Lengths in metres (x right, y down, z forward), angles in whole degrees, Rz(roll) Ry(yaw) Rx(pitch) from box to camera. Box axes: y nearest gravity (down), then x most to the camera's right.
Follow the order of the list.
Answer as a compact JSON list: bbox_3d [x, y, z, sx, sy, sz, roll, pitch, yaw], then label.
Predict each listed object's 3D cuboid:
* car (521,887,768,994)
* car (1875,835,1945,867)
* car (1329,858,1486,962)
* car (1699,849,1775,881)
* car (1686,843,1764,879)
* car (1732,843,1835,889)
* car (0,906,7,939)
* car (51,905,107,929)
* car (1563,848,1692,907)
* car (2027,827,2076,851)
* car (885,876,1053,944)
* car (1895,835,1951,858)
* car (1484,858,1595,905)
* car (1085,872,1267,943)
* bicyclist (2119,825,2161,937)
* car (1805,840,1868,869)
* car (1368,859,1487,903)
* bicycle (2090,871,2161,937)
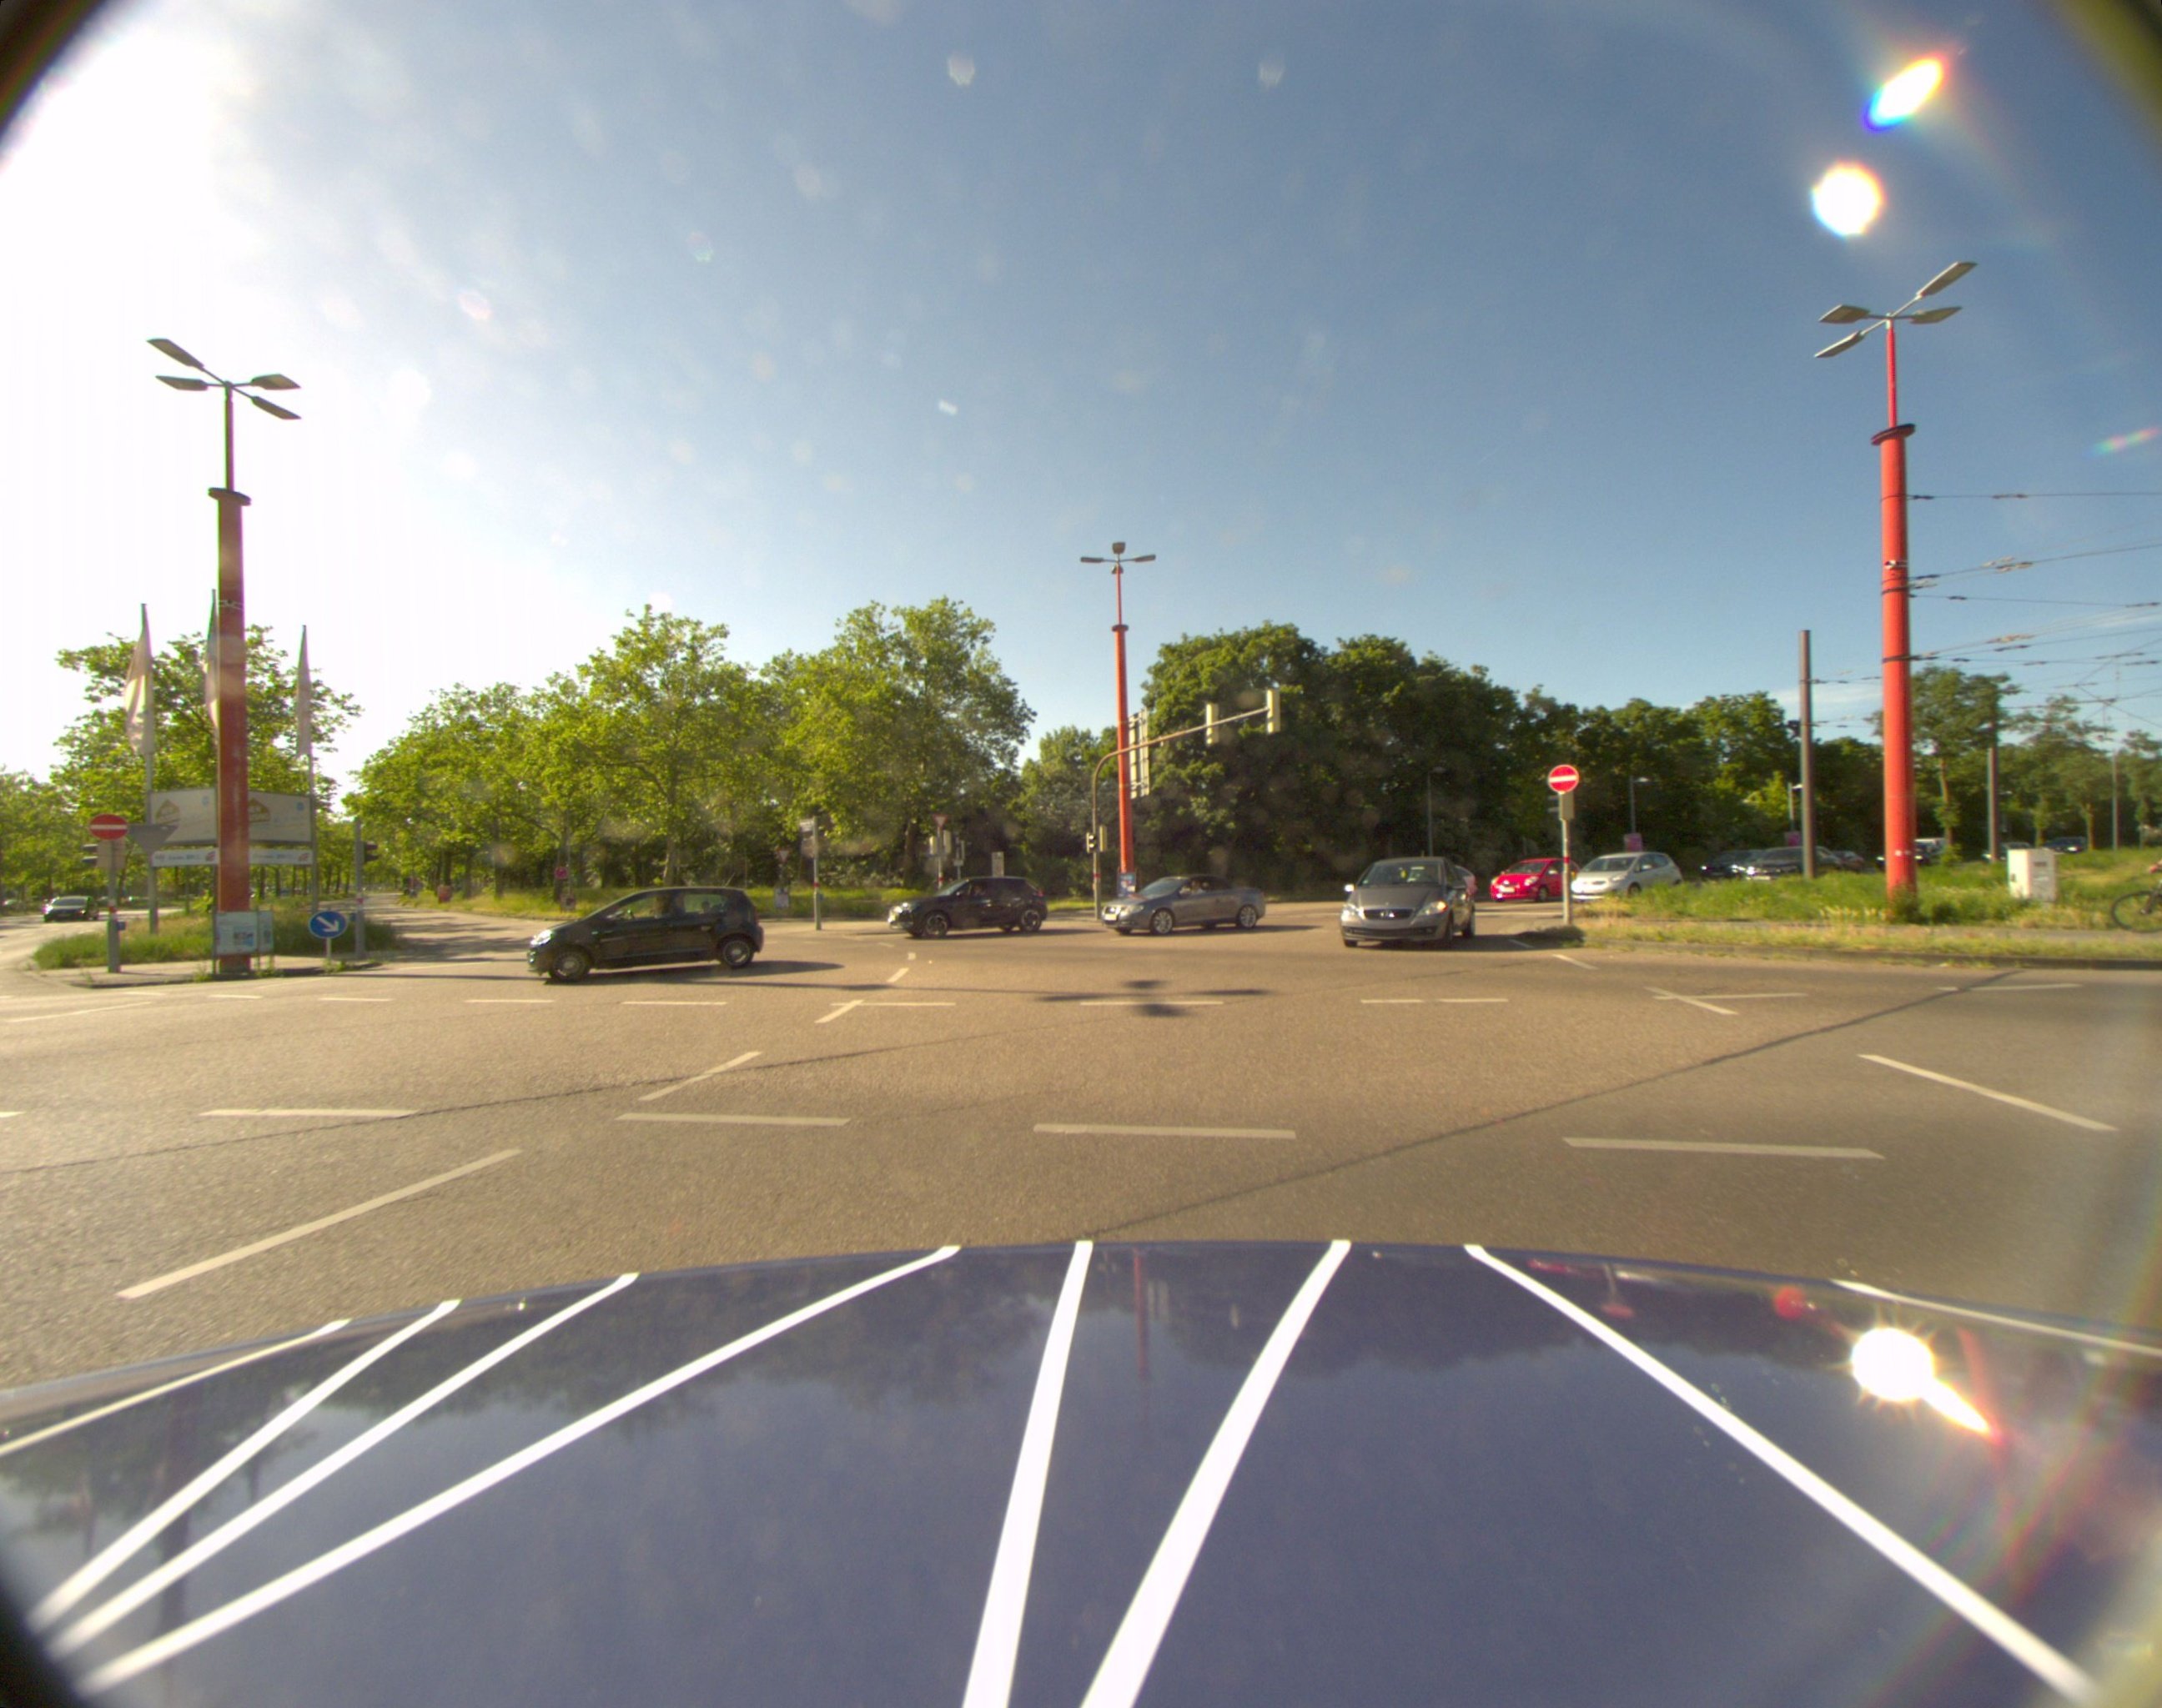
[{"bbox_3d":[-7.377,1.380,13.083,3.458,1.484,1.619,-1,-2,-30],"label":"car"},{"bbox_3d":[47.311,-0.189,43.348,4.006,1.651,1.747,-2,-2,-29],"label":"car"},{"bbox_3d":[6.146,0.921,14.037,1.745,1.630,4.009,-3,-2,36],"label":"car"},{"bbox_3d":[34.252,0.577,39.665,3.969,1.485,1.711,-2,-1,-29],"label":"car"},{"bbox_3d":[33.409,0.350,39.395,4.006,1.651,1.747,-2,-2,-29],"label":"car"},{"bbox_3d":[27.289,0.441,29.508,4.006,1.652,1.746,-1,-1,-29],"label":"car"},{"bbox_3d":[-49.040,3.090,33.232,4.214,1.499,1.777,-3,-1,44],"label":"car"},{"bbox_3d":[-68.836,4.333,52.252,4.215,1.499,1.777,-4,-2,44],"label":"car"},{"bbox_3d":[17.457,0.729,24.248,4.006,1.651,1.747,-2,-2,-29],"label":"car"},{"bbox_3d":[73.512,-1.128,57.540,3.833,1.651,1.692,-2,-2,-29],"label":"car"},{"bbox_3d":[-2.914,1.406,19.904,3.969,1.485,1.711,-2,-1,-29],"label":"car"},{"bbox_3d":[58.892,-0.510,53.143,3.969,1.485,1.711,-2,-1,-29],"label":"car"},{"bbox_3d":[16.155,0.944,26.728,3.732,1.437,1.683,-2,-2,-30],"label":"car"},{"bbox_3d":[2.373,1.252,18.712,4.177,1.430,1.711,-2,-1,-29],"label":"car"},{"bbox_3d":[18.339,0.426,12.702,0.921,1.855,0.895,-4,-2,43],"label":"bicyclist"},{"bbox_3d":[45.488,0.019,45.736,3.902,1.520,1.650,-2,-2,-29],"label":"car"},{"bbox_3d":[13.057,0.994,28.571,4.392,1.427,1.747,-2,-1,-29],"label":"car"},{"bbox_3d":[18.403,0.816,12.581,1.911,1.065,0.581,-4,-2,43],"label":"bicycle"}]
